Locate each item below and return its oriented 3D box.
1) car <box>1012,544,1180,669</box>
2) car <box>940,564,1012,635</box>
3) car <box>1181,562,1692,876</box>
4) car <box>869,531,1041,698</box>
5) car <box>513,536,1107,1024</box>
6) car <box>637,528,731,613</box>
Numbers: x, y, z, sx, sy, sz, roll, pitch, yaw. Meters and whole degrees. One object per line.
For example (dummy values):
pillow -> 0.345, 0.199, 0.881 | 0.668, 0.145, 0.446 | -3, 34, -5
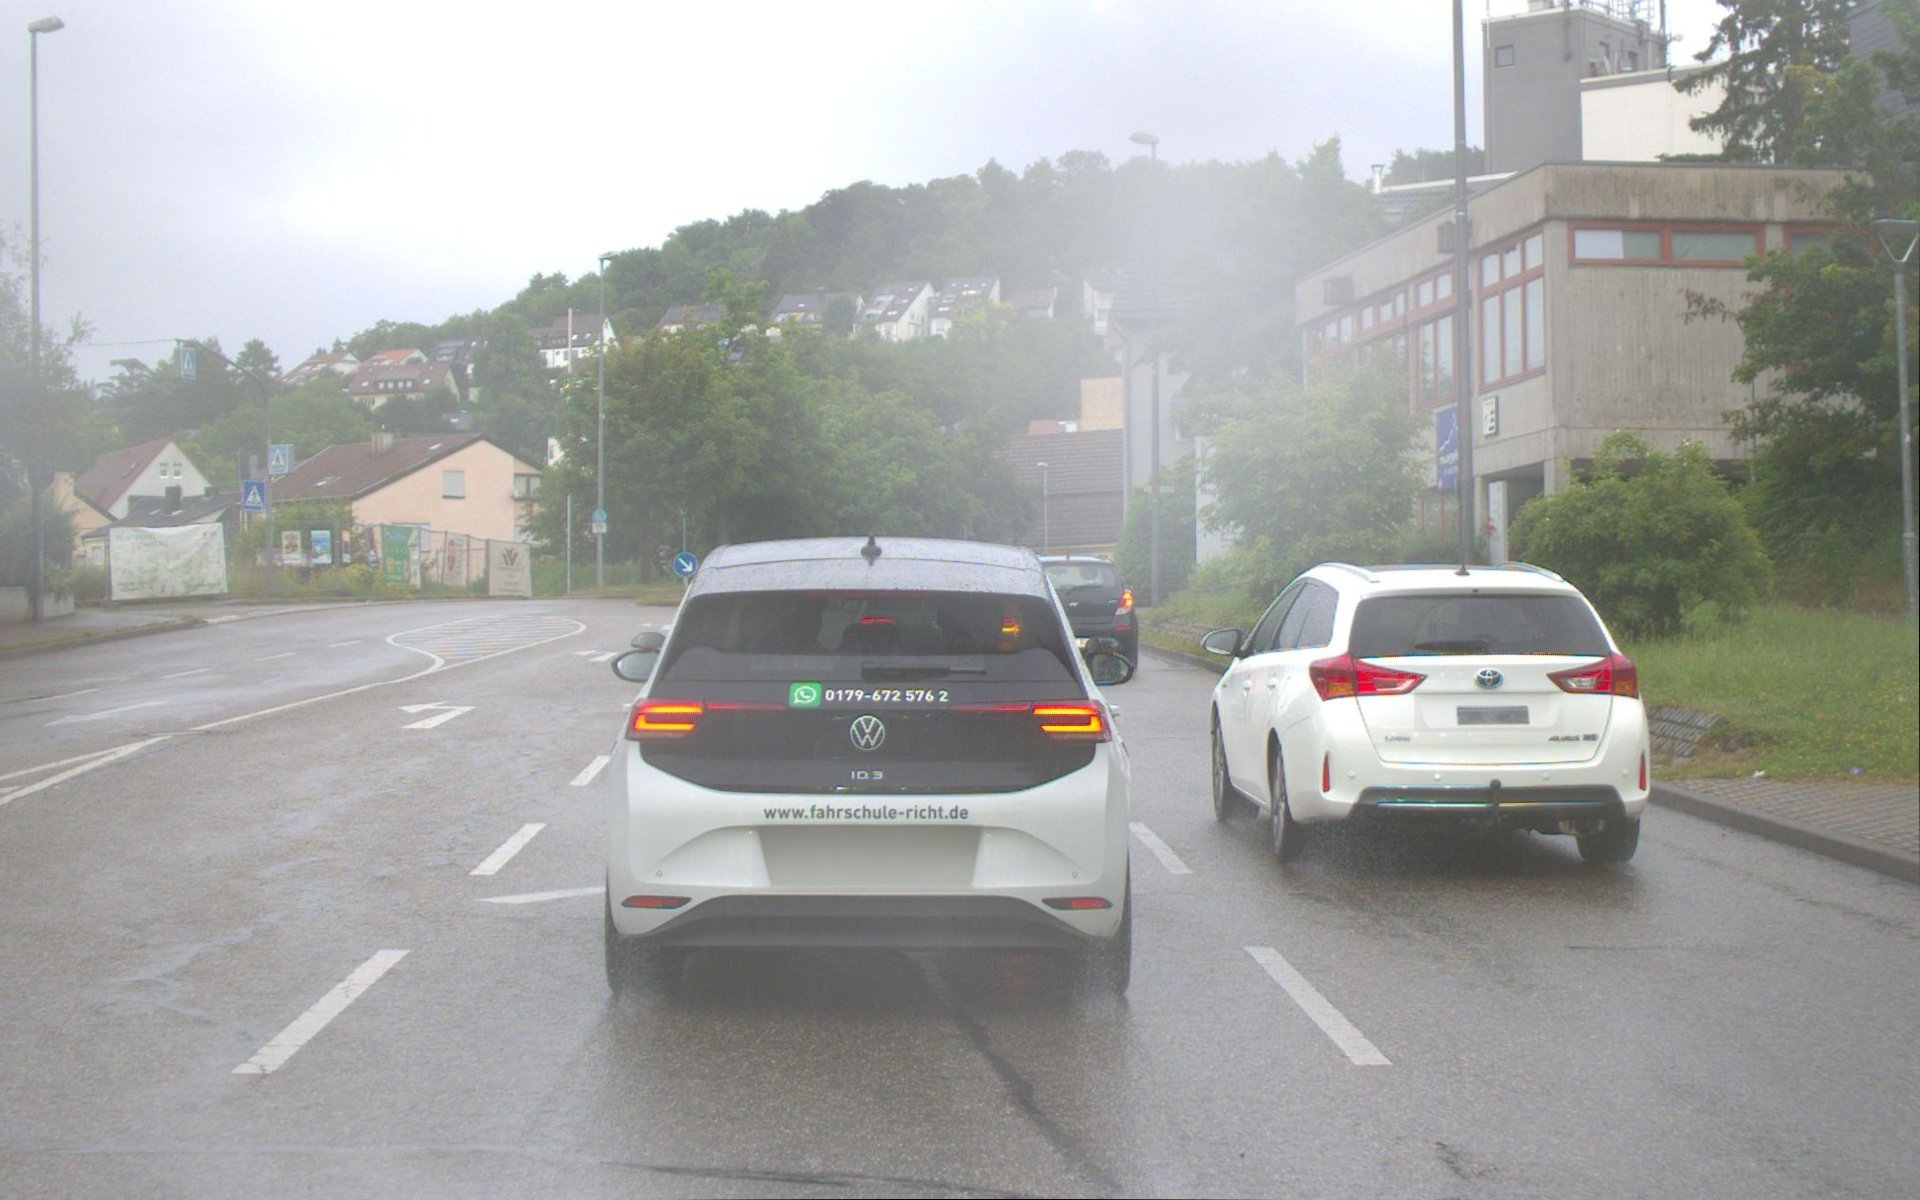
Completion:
car -> 1.715, 0.090, 43.939 | 1.993, 1.448, 3.770 | -2, 0, 2
car -> 0.501, -0.019, 101.256 | 1.993, 2.007, 4.000 | 1, 0, 2
car -> 2.285, 0.541, 17.617 | 1.848, 1.405, 4.302 | 0, 0, -2
car -> -0.077, 0.099, 33.349 | 1.567, 1.525, 4.000 | 0, 1, -1
car -> -0.406, 0.561, 12.724 | 1.829, 1.495, 4.168 | 0, 0, 2
car -> -6.836, -0.700, 85.403 | 1.993, 2.007, 4.000 | 1, 0, 0
